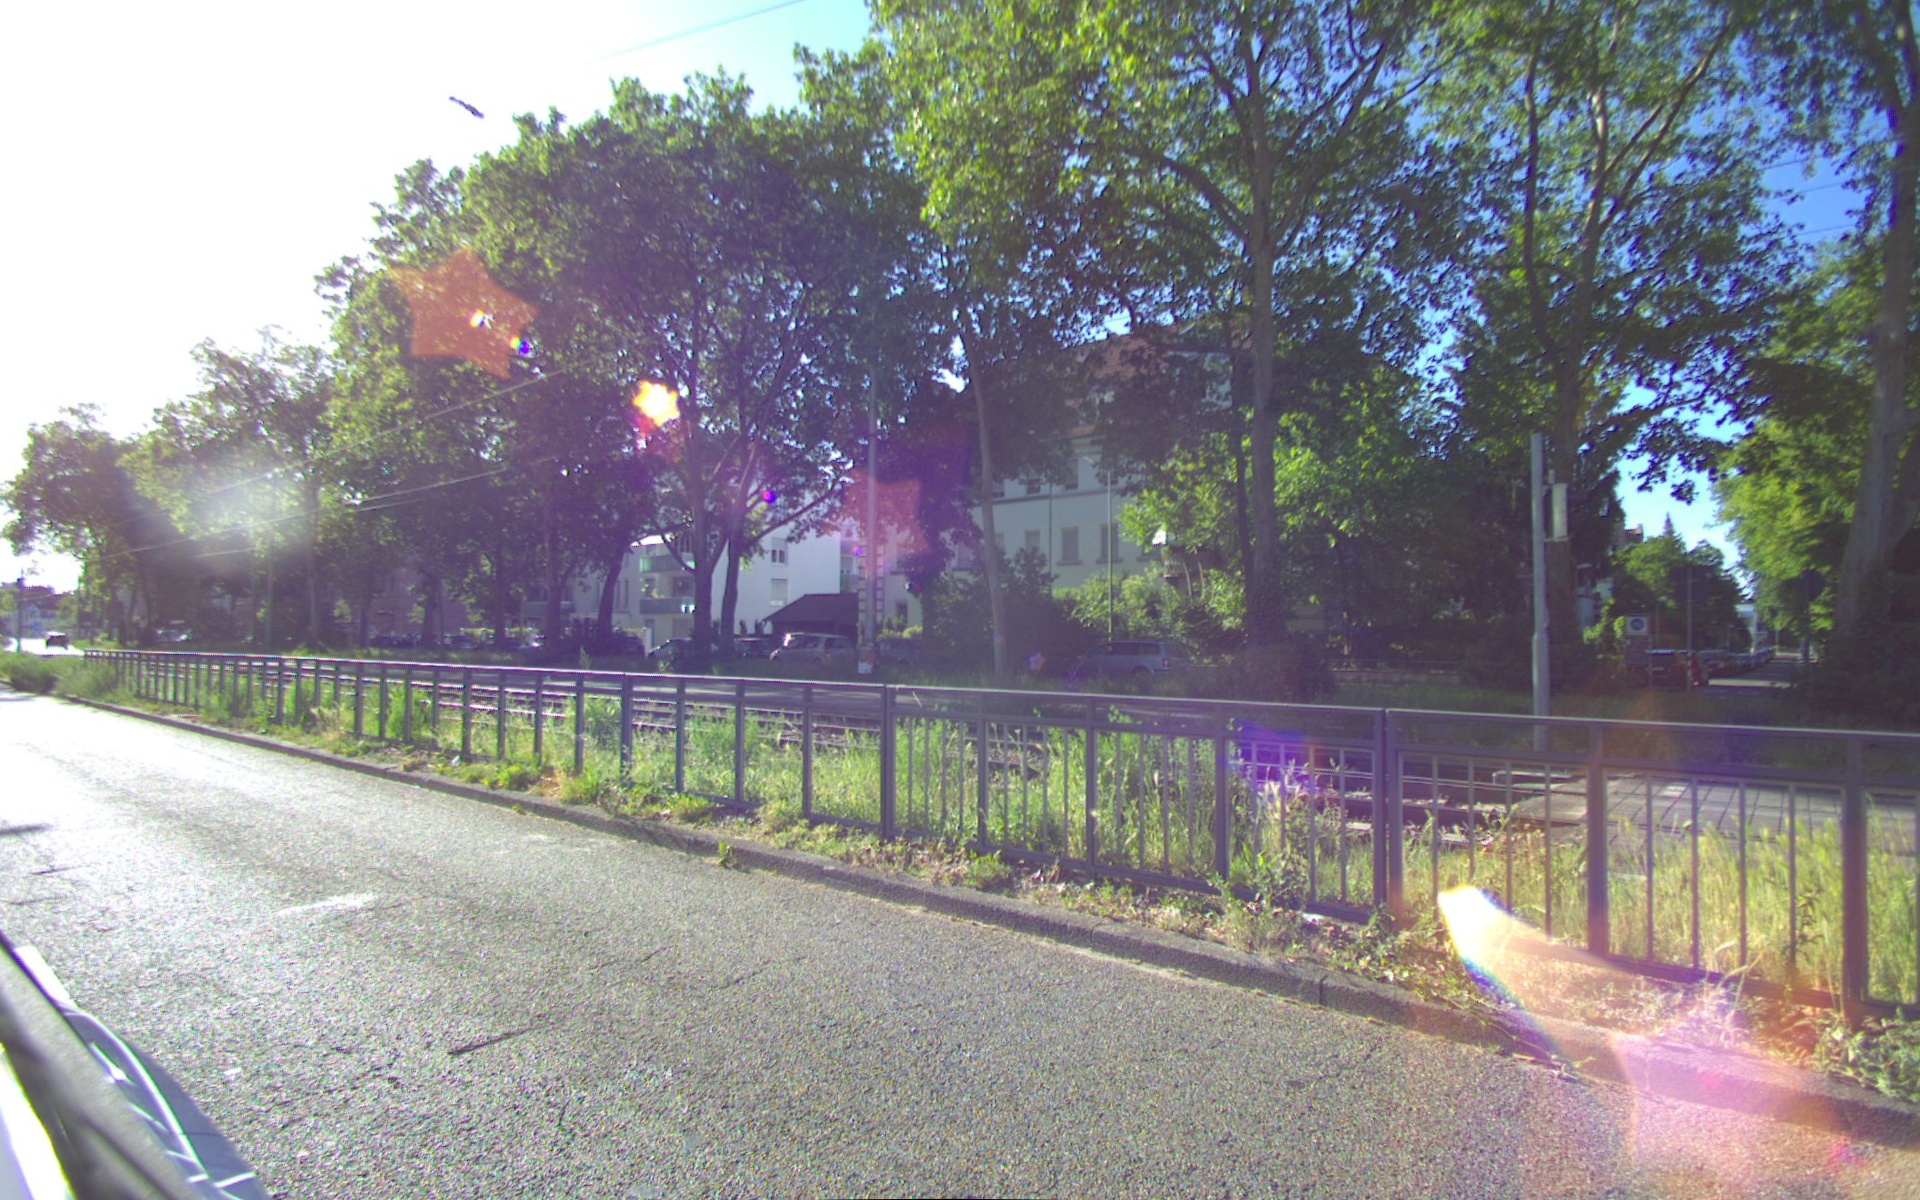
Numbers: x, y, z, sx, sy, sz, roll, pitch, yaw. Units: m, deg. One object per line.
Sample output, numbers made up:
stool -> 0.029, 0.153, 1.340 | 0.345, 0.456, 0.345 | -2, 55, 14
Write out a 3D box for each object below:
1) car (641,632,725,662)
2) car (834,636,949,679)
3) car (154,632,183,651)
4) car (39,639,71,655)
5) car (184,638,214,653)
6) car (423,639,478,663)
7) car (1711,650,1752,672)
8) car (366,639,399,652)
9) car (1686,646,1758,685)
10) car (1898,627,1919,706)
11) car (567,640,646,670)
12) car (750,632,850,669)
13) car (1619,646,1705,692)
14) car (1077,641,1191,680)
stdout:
car -> -13.075, 2.210, 47.650 | 4.459, 1.334, 1.623 | -2, -5, 42
car -> -2.637, 2.119, 38.321 | 4.313, 1.452, 1.767 | -1, 0, 38
car -> -85.131, 4.499, 108.808 | 1.970, 2.029, 4.002 | 3, -3, -44
car -> -94.771, 4.902, 105.936 | 4.456, 1.660, 1.838 | -2, -3, 40
car -> -76.725, 4.573, 102.023 | 3.687, 1.497, 1.748 | -2, -3, 42
car -> -32.478, 3.211, 64.499 | 3.998, 1.484, 1.778 | -2, -3, 41
car -> 41.844, 3.277, 54.882 | 1.531, 1.127, 3.083 | -2, -3, 41
car -> -40.349, 3.153, 70.719 | 3.058, 0.883, 1.094 | -2, -3, 41
car -> 30.449, 2.580, 40.400 | 1.999, 1.429, 3.945 | -2, -3, 41
car -> 20.412, 1.243, 18.875 | 4.141, 1.521, 1.652 | -2, -3, 40
car -> -18.181, 2.784, 52.013 | 4.317, 1.464, 1.972 | -2, -3, 42
car -> -6.631, 2.045, 41.712 | 4.317, 1.451, 1.717 | -2, -3, 42
car -> 24.325, 2.329, 35.014 | 1.999, 1.429, 3.945 | -2, -3, 41
car -> 5.394, 1.851, 31.493 | 3.213, 1.125, 1.458 | -2, -3, 38
